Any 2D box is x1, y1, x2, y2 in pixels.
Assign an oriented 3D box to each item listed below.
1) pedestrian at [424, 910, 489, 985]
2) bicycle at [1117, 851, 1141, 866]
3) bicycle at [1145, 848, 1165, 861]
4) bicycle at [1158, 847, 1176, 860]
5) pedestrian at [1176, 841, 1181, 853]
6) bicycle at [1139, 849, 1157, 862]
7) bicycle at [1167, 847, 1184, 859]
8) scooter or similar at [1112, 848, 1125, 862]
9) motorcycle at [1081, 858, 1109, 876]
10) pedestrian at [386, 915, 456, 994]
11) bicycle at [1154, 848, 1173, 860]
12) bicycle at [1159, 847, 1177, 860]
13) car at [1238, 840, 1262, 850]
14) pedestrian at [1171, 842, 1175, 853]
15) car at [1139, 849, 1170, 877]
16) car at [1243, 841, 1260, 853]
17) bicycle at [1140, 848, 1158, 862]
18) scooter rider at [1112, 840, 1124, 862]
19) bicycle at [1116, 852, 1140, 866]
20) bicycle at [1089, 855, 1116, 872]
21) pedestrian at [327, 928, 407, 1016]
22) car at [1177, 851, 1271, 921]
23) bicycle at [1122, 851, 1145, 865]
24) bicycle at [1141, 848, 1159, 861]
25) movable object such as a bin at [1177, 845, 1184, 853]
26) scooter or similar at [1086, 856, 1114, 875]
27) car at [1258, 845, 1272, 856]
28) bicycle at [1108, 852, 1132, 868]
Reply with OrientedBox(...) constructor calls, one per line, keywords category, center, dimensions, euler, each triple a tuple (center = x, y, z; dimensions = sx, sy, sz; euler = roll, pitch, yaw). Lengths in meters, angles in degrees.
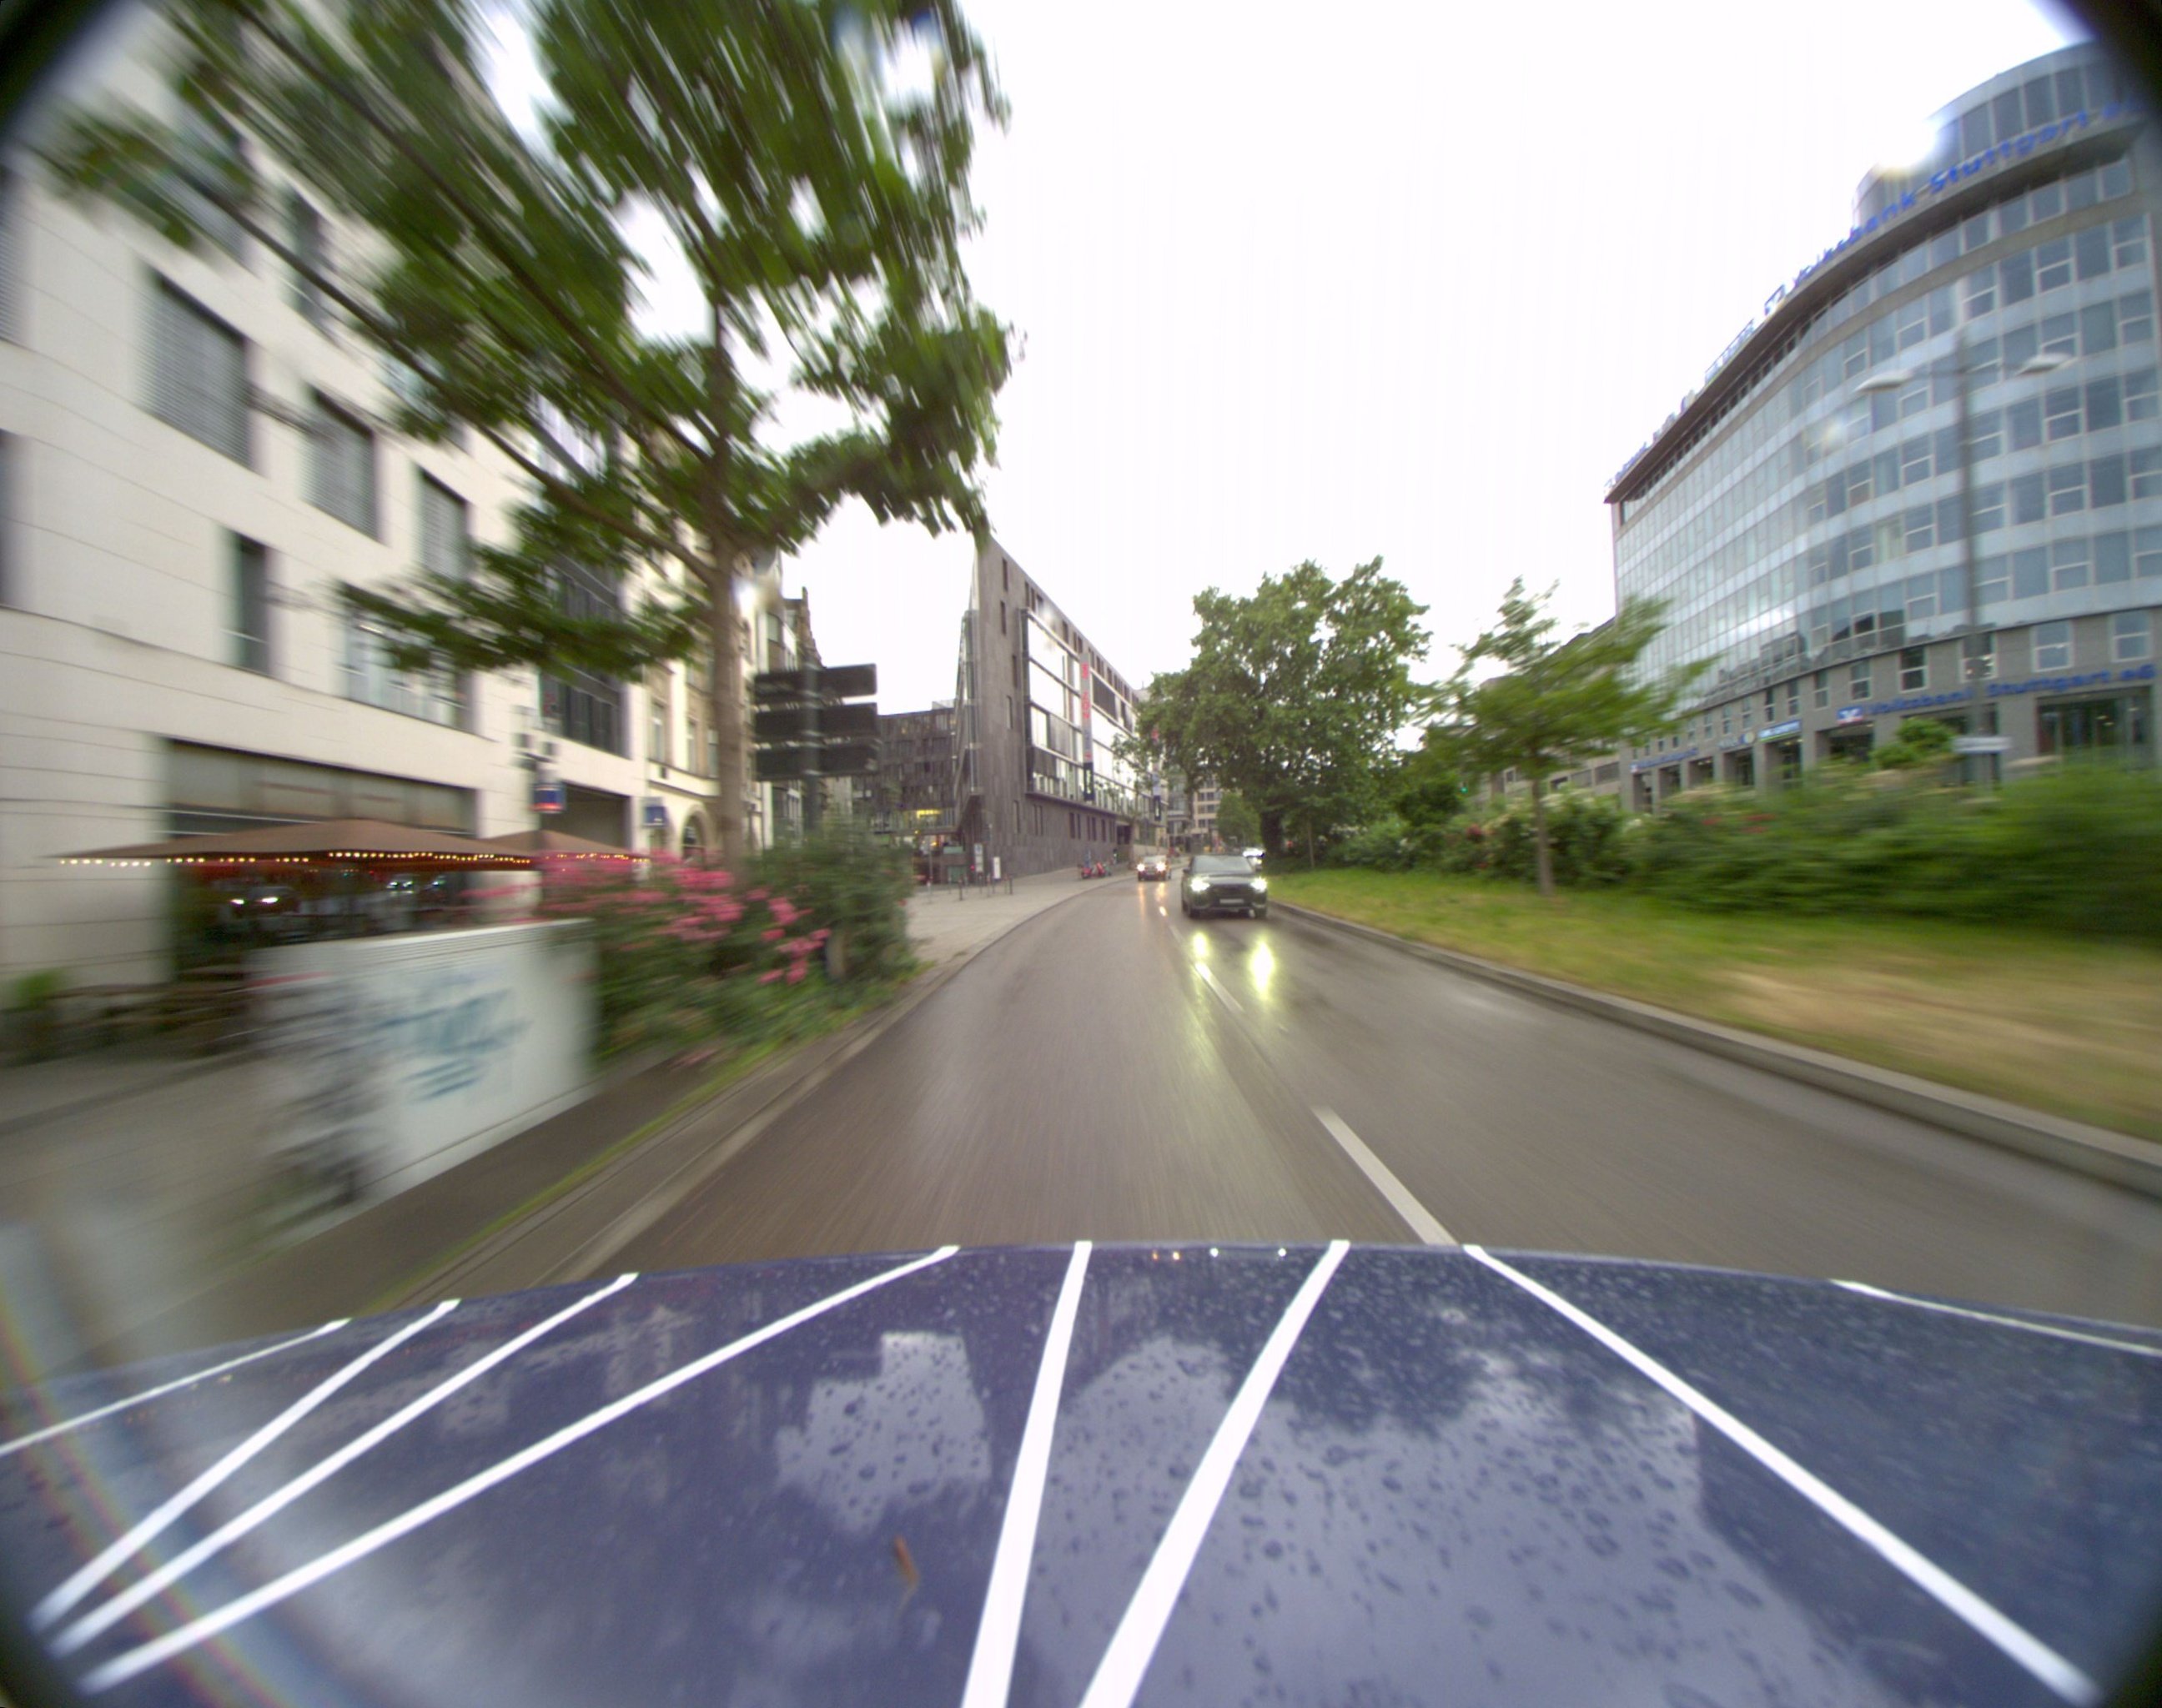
OrientedBox(category="pedestrian", center=(-12.122, 1.804, 14.763), dimensions=(0.629, 1.319, 0.635), euler=(-5, 1, -8))
OrientedBox(category="bicycle", center=(3.945, 0.380, 62.267), dimensions=(1.797, 1.062, 0.557), euler=(-4, 2, 12))
OrientedBox(category="bicycle", center=(6.900, 0.034, 70.771), dimensions=(1.709, 1.134, 0.689), euler=(-2, 2, 10))
OrientedBox(category="bicycle", center=(8.525, -0.037, 75.059), dimensions=(1.732, 1.176, 0.689), euler=(-1, 1, 10))
OrientedBox(category="pedestrian", center=(15.340, -1.115, 119.933), dimensions=(0.722, 1.820, 0.747), euler=(0, 2, 15))
OrientedBox(category="bicycle", center=(6.051, 0.130, 68.517), dimensions=(1.537, 1.134, 0.663), euler=(-2, 2, 10))
OrientedBox(category="bicycle", center=(9.685, -0.106, 77.759), dimensions=(1.732, 1.176, 0.689), euler=(-1, 1, 10))
OrientedBox(category="scooter or similar", center=(3.507, 0.116, 71.498), dimensions=(0.778, 1.298, 1.336), euler=(-2, 1, 20))
OrientedBox(category="motorcycle", center=(0.942, 0.903, 52.178), dimensions=(1.795, 1.133, 0.596), euler=(-4, 2, 11))
OrientedBox(category="pedestrian", center=(-12.056, 1.818, 13.899), dimensions=(0.629, 1.319, 0.635), euler=(-5, 1, -8))
OrientedBox(category="bicycle", center=(7.979, 0.004, 73.676), dimensions=(1.732, 1.134, 0.690), euler=(-1, 1, 10))
OrientedBox(category="bicycle", center=(8.705, -0.050, 76.015), dimensions=(1.732, 1.176, 0.689), euler=(-1, 1, 10))
OrientedBox(category="car", center=(33.434, -1.740, 150.537), dimensions=(2.003, 1.801, 4.203), euler=(-4, 0, -39))
OrientedBox(category="pedestrian", center=(14.574, -1.031, 120.191), dimensions=(0.484, 1.689, 0.580), euler=(0, 2, 15))
OrientedBox(category="car", center=(4.261, 0.516, 44.483), dimensions=(1.594, 1.501, 3.709), euler=(-2, 1, 2))
OrientedBox(category="car", center=(25.758, -1.089, 114.587), dimensions=(2.070, 1.578, 4.112), euler=(-4, 0, 17))
OrientedBox(category="bicycle", center=(6.235, 0.100, 69.299), dimensions=(1.537, 1.134, 0.689), euler=(-2, 2, 10))
OrientedBox(category="scooter rider", center=(3.491, -0.280, 71.493), dimensions=(0.778, 2.009, 0.925), euler=(-1, 1, 20))
OrientedBox(category="bicycle", center=(3.820, 0.412, 61.662), dimensions=(1.797, 1.062, 0.557), euler=(-4, 2, 12))
OrientedBox(category="bicycle", center=(1.577, 0.675, 55.008), dimensions=(1.797, 1.101, 0.670), euler=(-4, 2, 11))
OrientedBox(category="pedestrian", center=(-11.925, 1.953, 12.708), dimensions=(0.629, 1.319, 0.635), euler=(-5, 1, -8))
OrientedBox(category="car", center=(3.539, 0.731, 19.541), dimensions=(1.865, 1.509, 4.346), euler=(-2, 1, 4))
OrientedBox(category="bicycle", center=(4.353, 0.335, 63.106), dimensions=(1.797, 1.062, 0.557), euler=(-4, 2, 12))
OrientedBox(category="bicycle", center=(6.330, 0.080, 70.077), dimensions=(1.537, 1.134, 0.689), euler=(-2, 2, 10))
OrientedBox(category="movable object such as a bin", center=(15.548, -0.807, 118.582), dimensions=(0.803, 1.258, 1.790), euler=(0, 1, 15))
OrientedBox(category="scooter or similar", center=(1.337, 0.790, 53.430), dimensions=(1.795, 1.236, 0.596), euler=(-4, 2, 11))
OrientedBox(category="car", center=(24.787, -0.453, 102.113), dimensions=(1.604, 1.377, 3.023), euler=(-4, 0, 16))
OrientedBox(category="bicycle", center=(3.076, 0.469, 59.994), dimensions=(1.797, 1.101, 0.670), euler=(-4, 2, 11))
